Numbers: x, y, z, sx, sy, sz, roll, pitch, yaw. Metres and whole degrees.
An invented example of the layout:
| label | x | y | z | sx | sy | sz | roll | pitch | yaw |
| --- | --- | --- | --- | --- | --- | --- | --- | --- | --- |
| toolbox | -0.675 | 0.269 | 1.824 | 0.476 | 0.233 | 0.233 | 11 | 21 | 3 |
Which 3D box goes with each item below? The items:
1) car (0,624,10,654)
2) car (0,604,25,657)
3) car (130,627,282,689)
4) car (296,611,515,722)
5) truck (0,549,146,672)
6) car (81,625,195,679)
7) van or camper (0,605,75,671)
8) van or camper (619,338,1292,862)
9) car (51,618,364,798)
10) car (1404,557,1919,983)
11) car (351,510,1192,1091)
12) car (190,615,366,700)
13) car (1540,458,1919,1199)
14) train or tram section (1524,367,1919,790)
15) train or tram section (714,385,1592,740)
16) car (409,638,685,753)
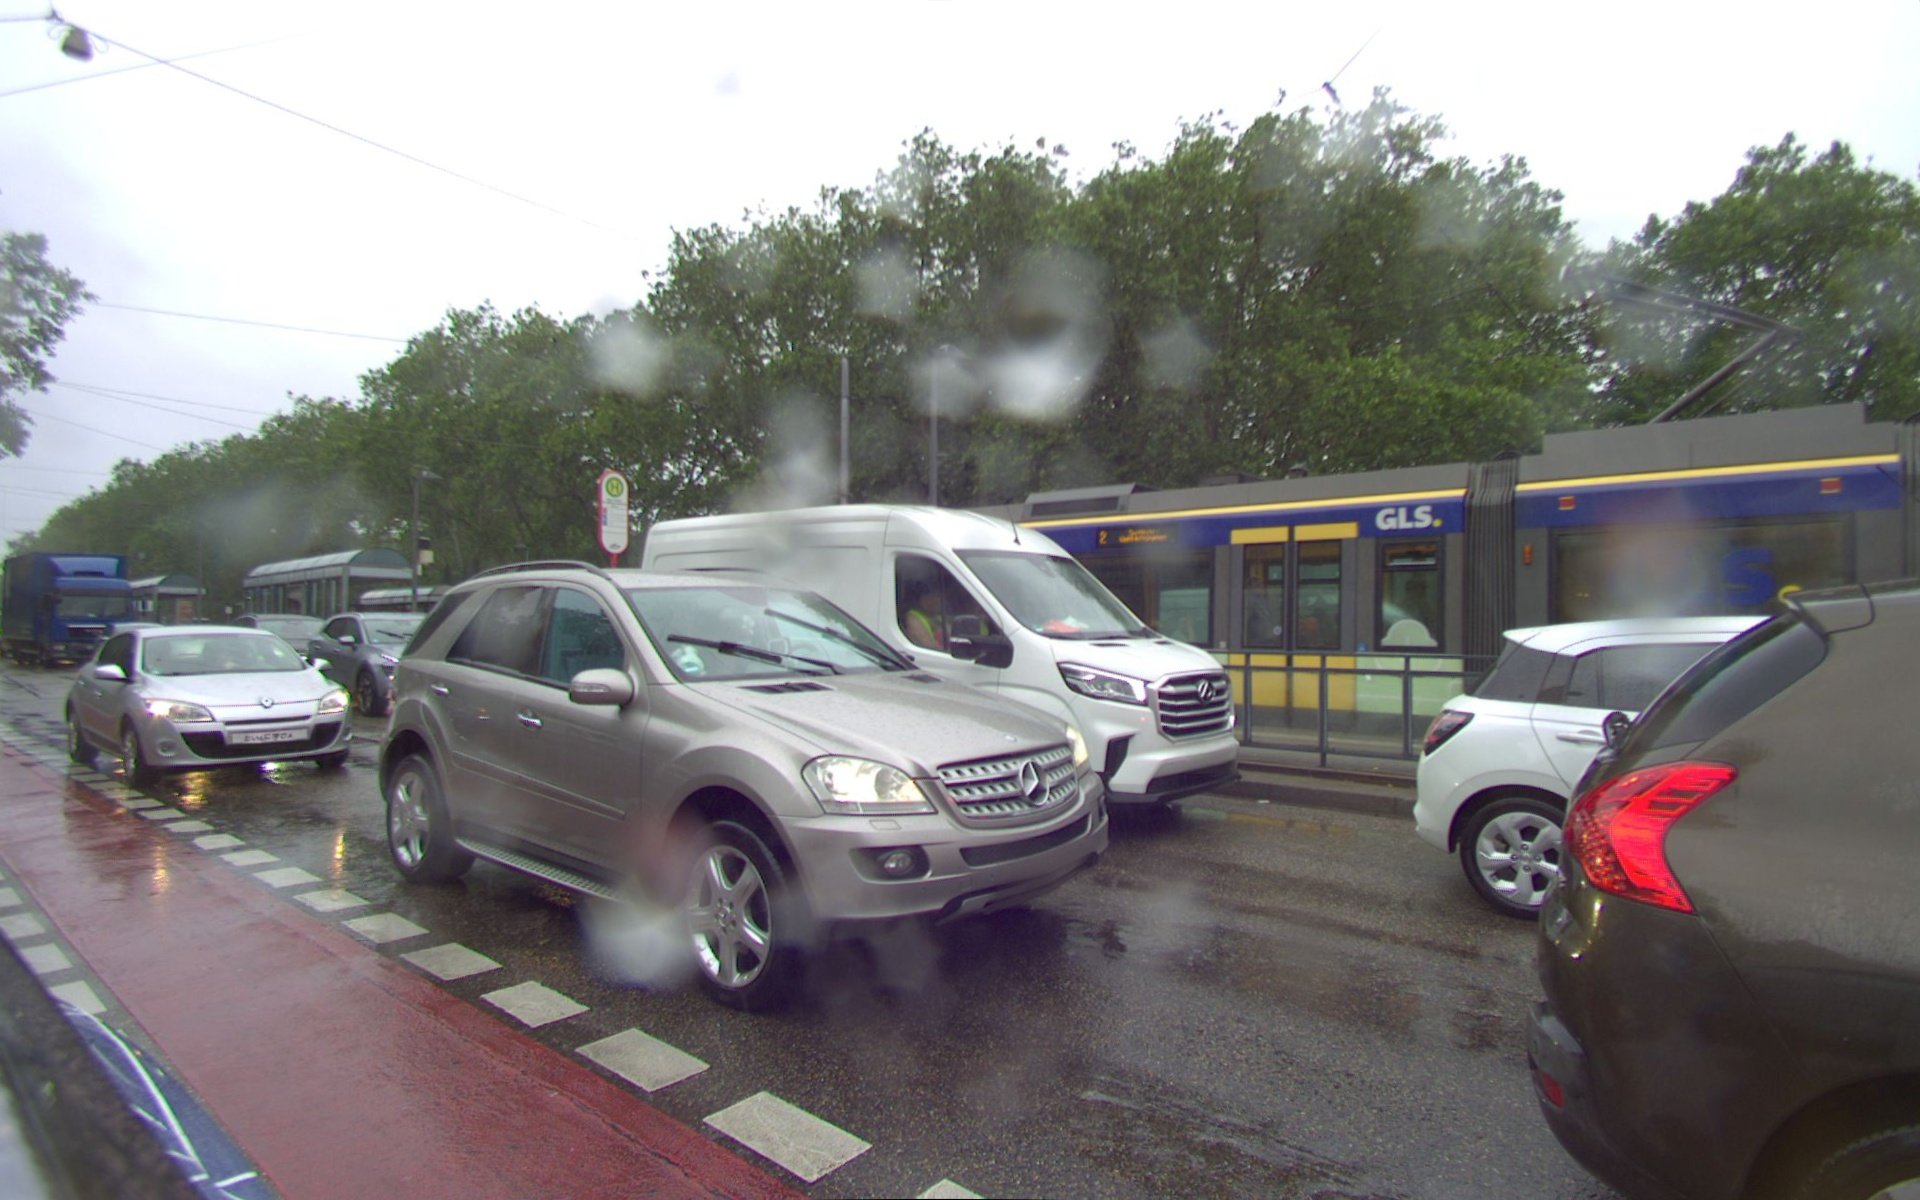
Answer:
| label | x | y | z | sx | sy | sz | roll | pitch | yaw |
| --- | --- | --- | --- | --- | --- | --- | --- | --- | --- |
| car | -52.361 | 2.094 | 54.077 | 3.998 | 1.589 | 1.973 | -1 | -1 | 41 |
| car | -46.783 | 1.472 | 48.887 | 5.727 | 2.445 | 1.972 | -1 | 0 | 43 |
| car | -18.839 | 1.385 | 25.212 | 4.602 | 1.405 | 1.973 | -1 | -3 | 40 |
| car | -9.420 | 1.034 | 17.042 | 4.454 | 1.636 | 1.894 | -1 | -2 | 43 |
| truck | -32.156 | 0.452 | 36.349 | 9.803 | 3.919 | 2.513 | -1 | -3 | 40 |
| car | -24.526 | 1.496 | 30.163 | 4.074 | 1.498 | 1.871 | -1 | -2 | 40 |
| van or camper | -39.746 | 1.564 | 43.292 | 6.427 | 2.590 | 1.973 | -1 | 0 | 41 |
| van or camper | -0.376 | 0.062 | 8.816 | 5.846 | 3.166 | 2.136 | -1 | -2 | 40 |
| car | -7.887 | 0.947 | 10.478 | 3.998 | 1.489 | 1.750 | -1 | -1 | 40 |
| car | 4.245 | 0.670 | 4.526 | 3.834 | 1.641 | 1.628 | -1 | -2 | 41 |
| car | -1.277 | 0.649 | 5.333 | 4.459 | 1.783 | 2.004 | -1 | -1 | 40 |
| car | -14.658 | 1.166 | 21.687 | 4.316 | 1.633 | 1.974 | -1 | -2 | 40 |
| car | 3.275 | 0.595 | 1.244 | 4.170 | 1.681 | 1.815 | -1 | -1 | 41 |
| train or tram section | 12.629 | -0.275 | 6.342 | 15.496 | 3.439 | 3.504 | -1 | 0 | 41 |
| train or tram section | 1.653 | -0.295 | 15.908 | 13.652 | 3.539 | 3.476 | -1 | 0 | 41 |
| car | -5.213 | 1.074 | 12.509 | 4.084 | 1.126 | 1.448 | -1 | -1 | 40 |
